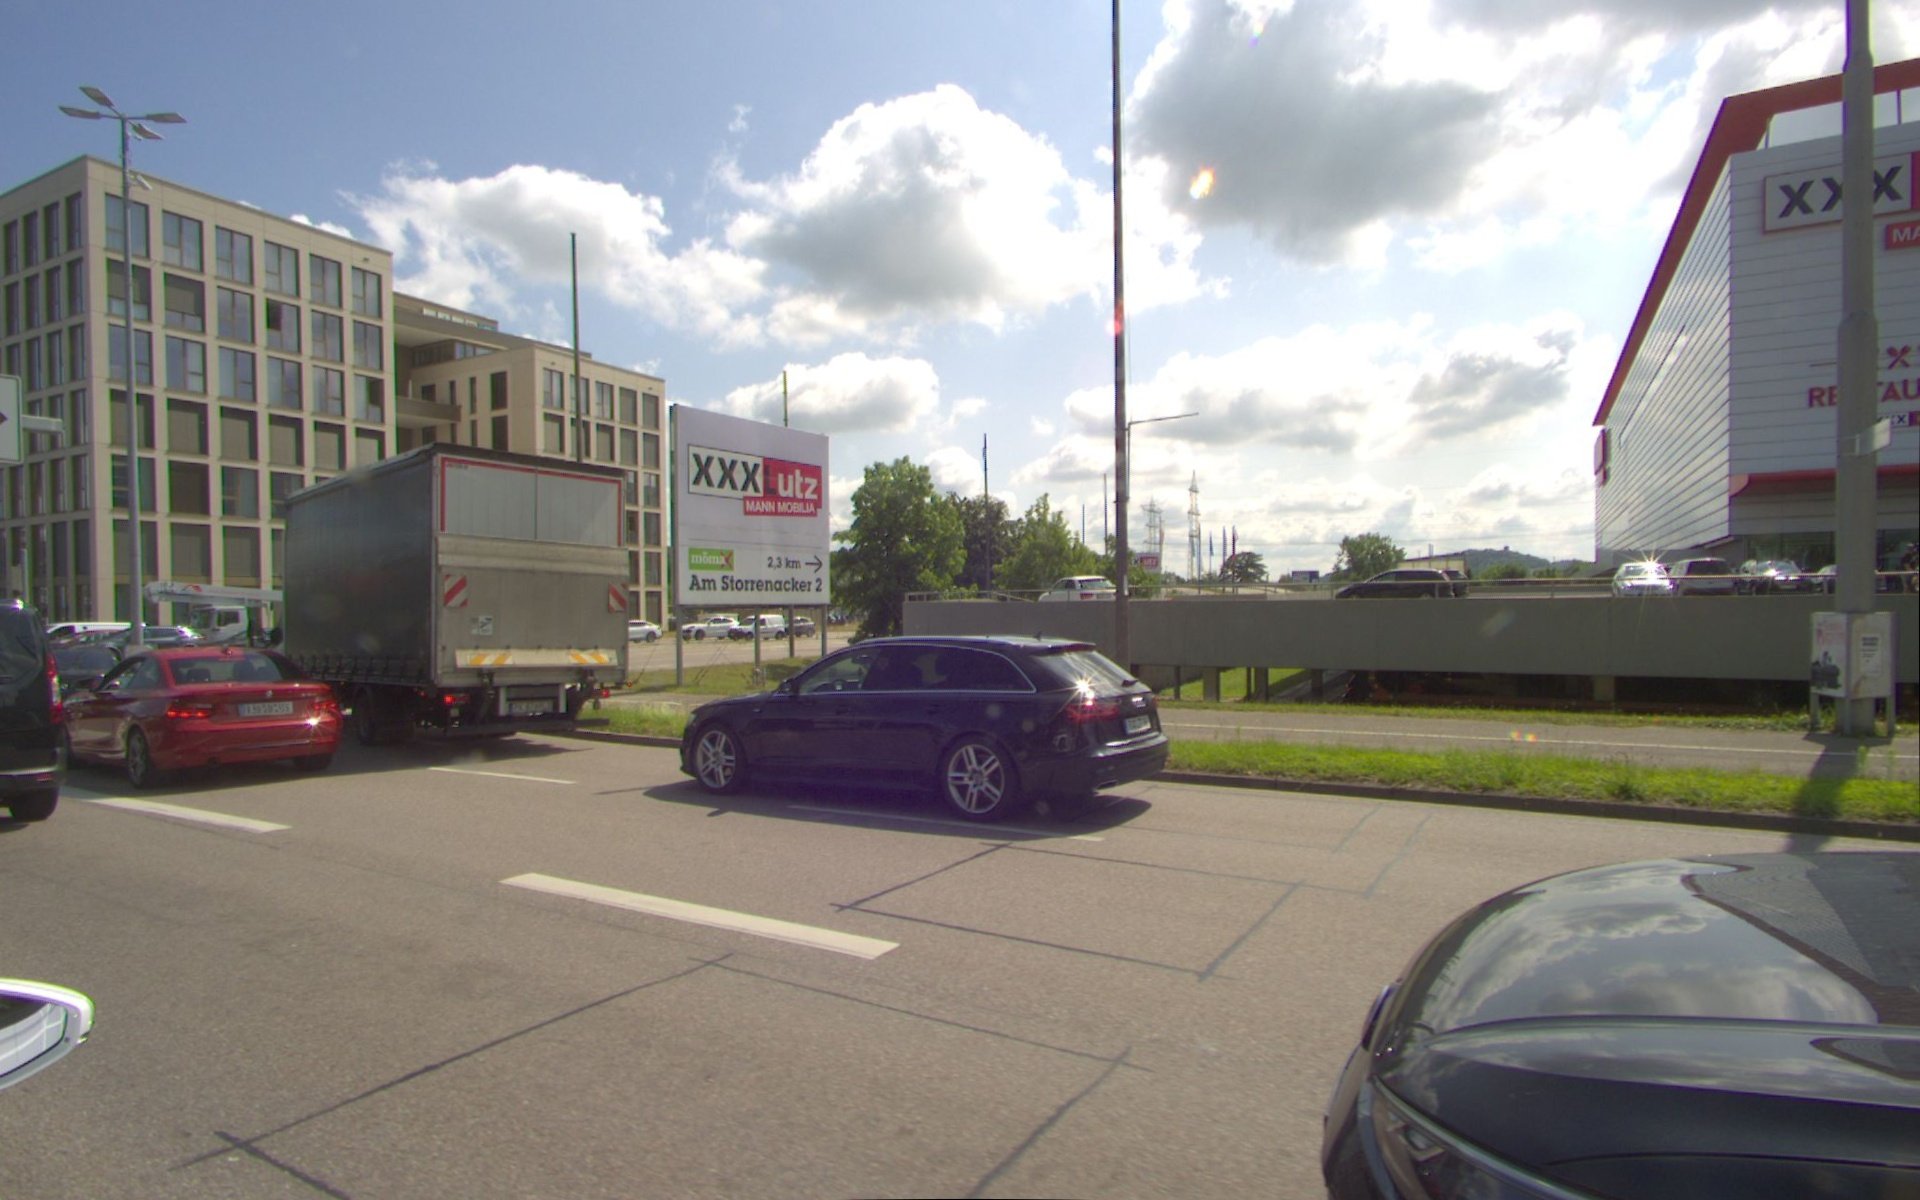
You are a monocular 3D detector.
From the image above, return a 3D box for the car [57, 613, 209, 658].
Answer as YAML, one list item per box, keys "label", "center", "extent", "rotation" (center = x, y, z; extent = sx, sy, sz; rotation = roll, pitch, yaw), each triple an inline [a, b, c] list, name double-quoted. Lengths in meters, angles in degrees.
- label: "car"
  center: [-31.929, 1.390, 38.798]
  extent: [1.798, 1.647, 4.200]
  rotation: [-2, -2, 25]

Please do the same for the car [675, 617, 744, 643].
- label: "car"
  center: [-18.243, 2.205, 72.973]
  extent: [1.809, 1.861, 4.674]
  rotation: [-2, -3, 43]

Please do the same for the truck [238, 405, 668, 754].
- label: "truck"
  center: [-8.465, -0.035, 15.931]
  extent: [8.974, 4.078, 3.196]
  rotation: [-3, -3, 43]

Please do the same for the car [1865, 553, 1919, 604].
- label: "car"
  center: [37.552, -0.823, 39.550]
  extent: [1.889, 1.772, 3.982]
  rotation: [-2, -3, 30]

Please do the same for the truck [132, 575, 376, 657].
- label: "truck"
  center: [-34.145, 0.880, 49.093]
  extent: [2.632, 3.599, 9.755]
  rotation: [-2, -2, 25]

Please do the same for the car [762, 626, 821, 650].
- label: "car"
  center: [-13.253, 2.981, 78.726]
  extent: [1.809, 1.861, 4.408]
  rotation: [-2, -3, 43]

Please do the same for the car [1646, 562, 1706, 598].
- label: "car"
  center: [36.776, -0.965, 51.503]
  extent: [1.925, 1.626, 4.406]
  rotation: [-1, -2, 28]

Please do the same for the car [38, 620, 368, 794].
- label: "car"
  center: [-8.837, 1.135, 11.600]
  extent: [4.163, 1.676, 1.854]
  rotation: [-3, -3, 35]

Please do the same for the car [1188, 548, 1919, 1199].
- label: "car"
  center: [2.944, 0.673, 0.716]
  extent: [5.129, 1.497, 1.805]
  rotation: [-2, -2, 32]

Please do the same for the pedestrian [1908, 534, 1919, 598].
- label: "pedestrian"
  center: [27.181, -0.970, 27.912]
  extent: [0.694, 1.764, 1.019]
  rotation: [-1, -2, 18]

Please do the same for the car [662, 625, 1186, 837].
- label: "car"
  center: [-0.465, 1.004, 9.131]
  extent: [4.613, 1.497, 1.770]
  rotation: [-2, -2, 33]

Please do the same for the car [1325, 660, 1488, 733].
- label: "car"
  center: [12.203, 2.564, 27.399]
  extent: [3.939, 1.772, 1.992]
  rotation: [-1, -1, 29]

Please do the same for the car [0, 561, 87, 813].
- label: "car"
  center: [-9.219, 0.707, 8.455]
  extent: [3.945, 1.929, 1.819]
  rotation: [-2, -1, 33]

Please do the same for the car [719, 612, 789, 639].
- label: "car"
  center: [-14.645, 1.827, 71.515]
  extent: [1.809, 1.861, 4.761]
  rotation: [-2, -3, 43]

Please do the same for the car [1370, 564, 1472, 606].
- label: "car"
  center: [21.944, -0.687, 47.753]
  extent: [4.352, 1.808, 1.948]
  rotation: [-1, -1, 26]

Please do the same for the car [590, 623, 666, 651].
- label: "car"
  center: [-22.449, 2.512, 67.939]
  extent: [1.806, 1.861, 4.692]
  rotation: [-2, -3, 38]

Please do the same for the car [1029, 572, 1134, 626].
- label: "car"
  center: [3.970, 0.022, 33.448]
  extent: [1.849, 1.606, 4.157]
  rotation: [0, -2, -19]

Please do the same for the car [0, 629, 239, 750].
- label: "car"
  center: [-13.439, 1.372, 15.924]
  extent: [4.162, 1.675, 1.856]
  rotation: [-1, -6, 35]

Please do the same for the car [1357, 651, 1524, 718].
- label: "car"
  center: [14.206, 2.442, 29.692]
  extent: [4.297, 1.772, 1.992]
  rotation: [-1, -1, 29]

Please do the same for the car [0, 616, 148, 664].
- label: "car"
  center: [-37.615, 1.692, 42.152]
  extent: [1.968, 1.861, 4.979]
  rotation: [-2, -2, 25]

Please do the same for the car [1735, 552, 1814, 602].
- label: "car"
  center: [33.433, -0.880, 41.187]
  extent: [1.889, 1.772, 3.982]
  rotation: [-2, -3, 30]

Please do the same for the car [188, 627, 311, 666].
- label: "car"
  center: [-31.914, 2.091, 45.102]
  extent: [1.802, 1.647, 4.193]
  rotation: [-2, -3, 31]

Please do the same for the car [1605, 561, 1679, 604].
- label: "car"
  center: [26.978, -0.634, 39.737]
  extent: [1.925, 1.489, 4.406]
  rotation: [-1, -2, 28]

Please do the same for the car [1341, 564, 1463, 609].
- label: "car"
  center: [17.564, -0.499, 39.867]
  extent: [4.352, 1.626, 1.948]
  rotation: [-1, -1, 26]

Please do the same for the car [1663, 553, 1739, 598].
- label: "car"
  center: [31.053, -0.983, 42.097]
  extent: [1.925, 1.626, 4.406]
  rotation: [-1, -2, 28]

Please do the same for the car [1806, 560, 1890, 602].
- label: "car"
  center: [35.587, -0.722, 40.241]
  extent: [1.536, 1.489, 4.406]
  rotation: [-1, -2, 28]

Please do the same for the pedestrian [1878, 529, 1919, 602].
- label: "pedestrian"
  center: [27.378, -0.973, 28.991]
  extent: [0.694, 2.039, 0.910]
  rotation: [0, -2, -13]
